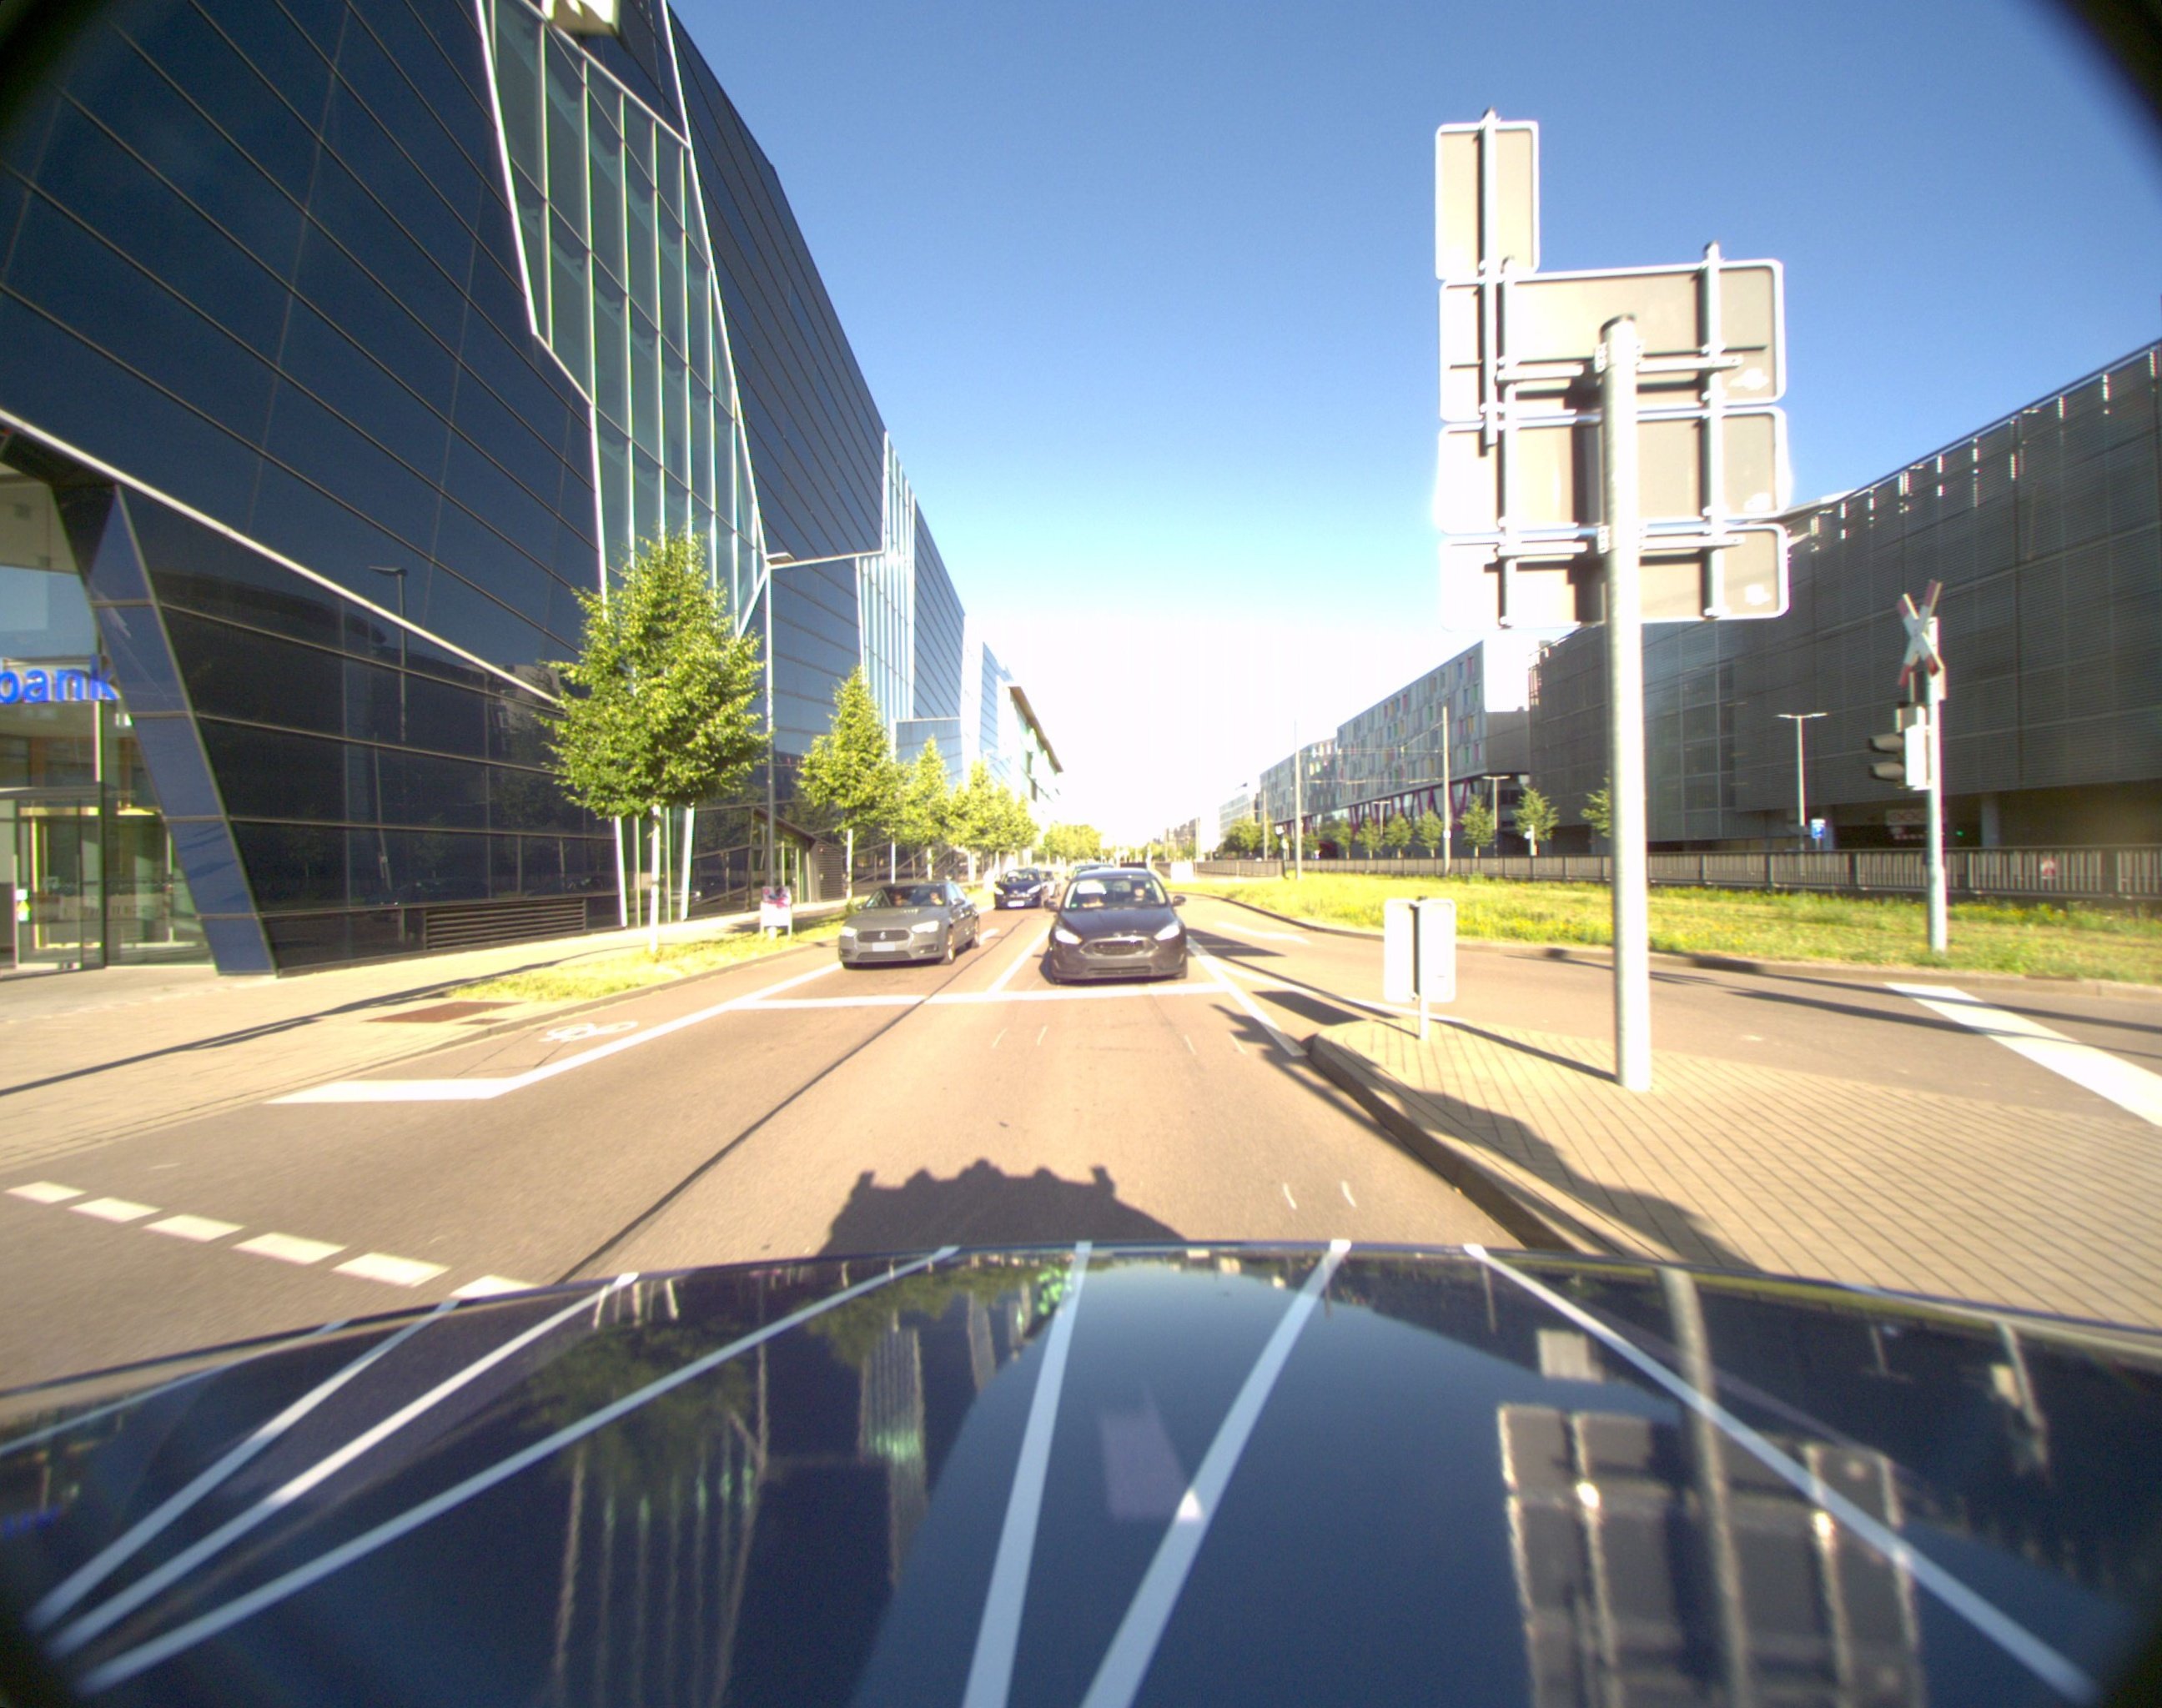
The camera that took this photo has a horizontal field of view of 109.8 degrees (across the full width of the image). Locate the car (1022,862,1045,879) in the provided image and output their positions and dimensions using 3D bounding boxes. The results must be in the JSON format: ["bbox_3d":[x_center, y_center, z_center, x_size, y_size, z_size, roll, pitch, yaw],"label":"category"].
[{"bbox_3d":[-4.591,1.593,74.436,1.739,1.489,4.716,1,0,2],"label":"car"}]

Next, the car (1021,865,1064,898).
[{"bbox_3d":[-1.849,1.318,37.141,1.753,1.469,3.418,-2,0,2],"label":"car"}]

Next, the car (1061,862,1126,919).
[{"bbox_3d":[0.451,1.096,24.570,1.907,1.612,4.001,-1,0,2],"label":"car"}]

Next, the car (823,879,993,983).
[{"bbox_3d":[-2.889,1.243,13.680,1.749,1.384,4.265,-2,0,4],"label":"car"}]

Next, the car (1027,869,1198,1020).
[{"bbox_3d":[0.422,1.021,10.451,1.787,1.499,4.591,-2,0,2],"label":"car"}]

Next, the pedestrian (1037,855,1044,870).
[{"bbox_3d":[-5.088,1.057,95.712,0.828,1.814,0.905,2,0,2],"label":"pedestrian"}]

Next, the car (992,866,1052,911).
[{"bbox_3d":[-2.143,1.251,28.491,1.753,1.469,3.972,-2,0,2],"label":"car"}]
